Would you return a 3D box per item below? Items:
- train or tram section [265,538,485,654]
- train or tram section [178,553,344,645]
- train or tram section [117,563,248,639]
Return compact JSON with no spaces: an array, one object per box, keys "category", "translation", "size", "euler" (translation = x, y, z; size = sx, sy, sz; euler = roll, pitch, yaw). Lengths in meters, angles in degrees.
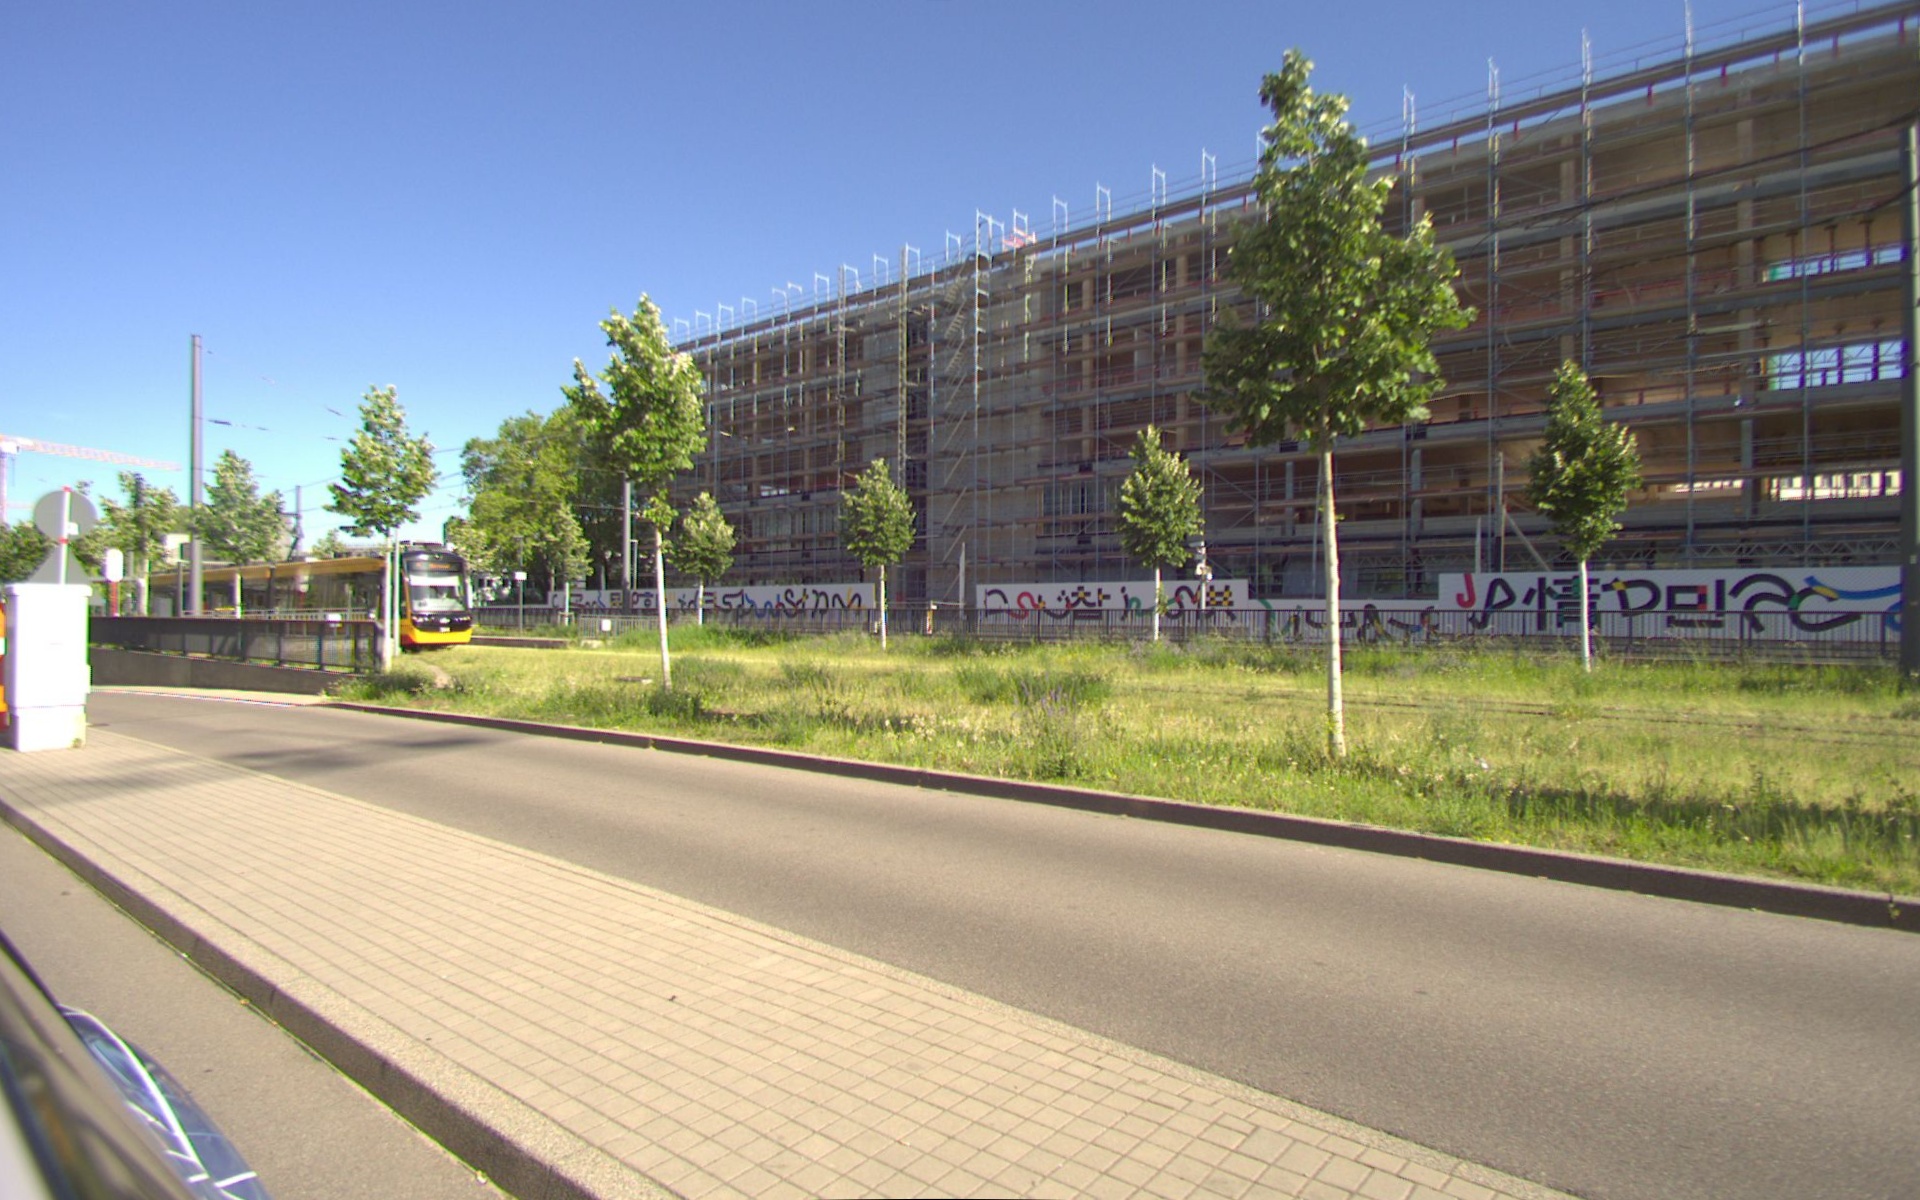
[{"category":"train or tram section","translation":[-21.874,-0.056,37.270],"size":[12.778,3.666,2.787],"euler":[-1,-1,40]},{"category":"train or tram section","translation":[-31.647,0.020,45.487],"size":[12.778,3.666,2.787],"euler":[-1,-1,40]},{"category":"train or tram section","translation":[-41.457,0.117,53.705],"size":[12.778,3.666,2.787],"euler":[-1,-1,40]}]
